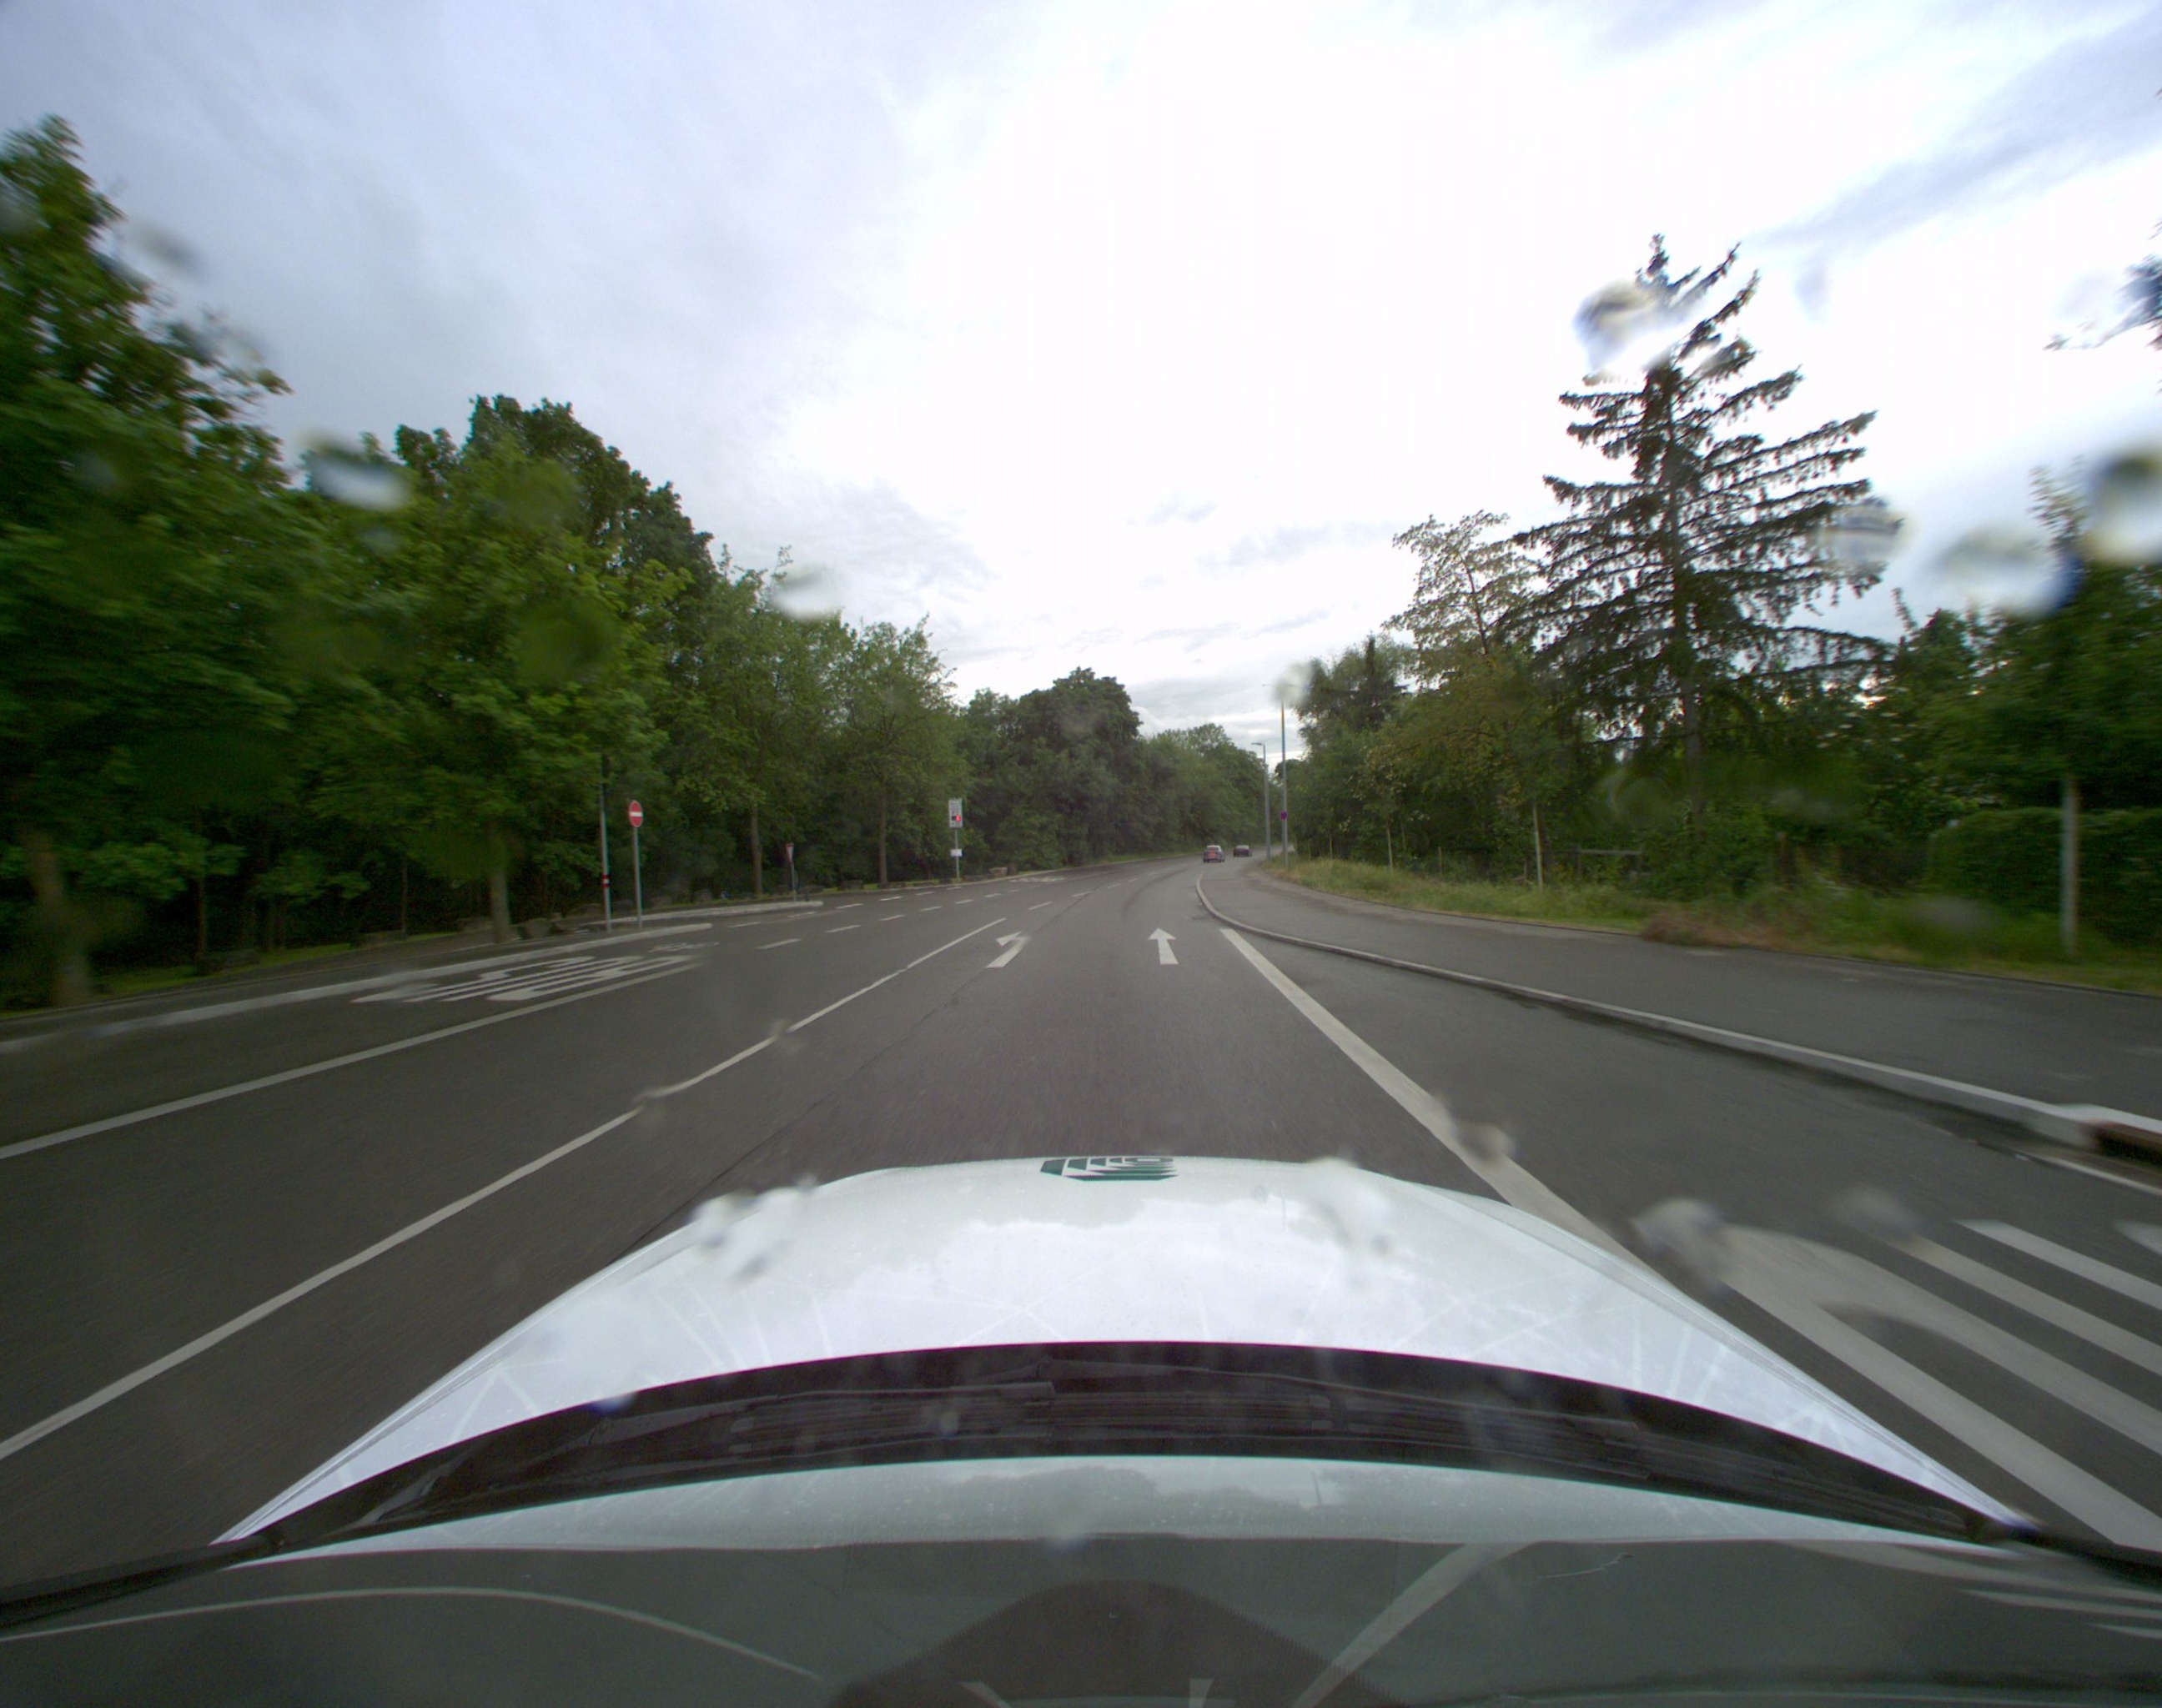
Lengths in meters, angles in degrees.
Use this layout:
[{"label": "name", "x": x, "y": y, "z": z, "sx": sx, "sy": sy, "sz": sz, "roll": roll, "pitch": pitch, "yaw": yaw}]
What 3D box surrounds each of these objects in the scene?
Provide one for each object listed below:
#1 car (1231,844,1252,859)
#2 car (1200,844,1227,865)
[{"label": "car", "x": 19.219, "y": -0.343, "z": 97.599, "sx": 1.911, "sy": 1.486, "sz": 3.818, "roll": -3, "pitch": 2, "yaw": 18}, {"label": "car", "x": 12.673, "y": 0.053, "z": 77.622, "sx": 1.978, "sy": 1.689, "sz": 4.018, "roll": -3, "pitch": 2, "yaw": 16}]
